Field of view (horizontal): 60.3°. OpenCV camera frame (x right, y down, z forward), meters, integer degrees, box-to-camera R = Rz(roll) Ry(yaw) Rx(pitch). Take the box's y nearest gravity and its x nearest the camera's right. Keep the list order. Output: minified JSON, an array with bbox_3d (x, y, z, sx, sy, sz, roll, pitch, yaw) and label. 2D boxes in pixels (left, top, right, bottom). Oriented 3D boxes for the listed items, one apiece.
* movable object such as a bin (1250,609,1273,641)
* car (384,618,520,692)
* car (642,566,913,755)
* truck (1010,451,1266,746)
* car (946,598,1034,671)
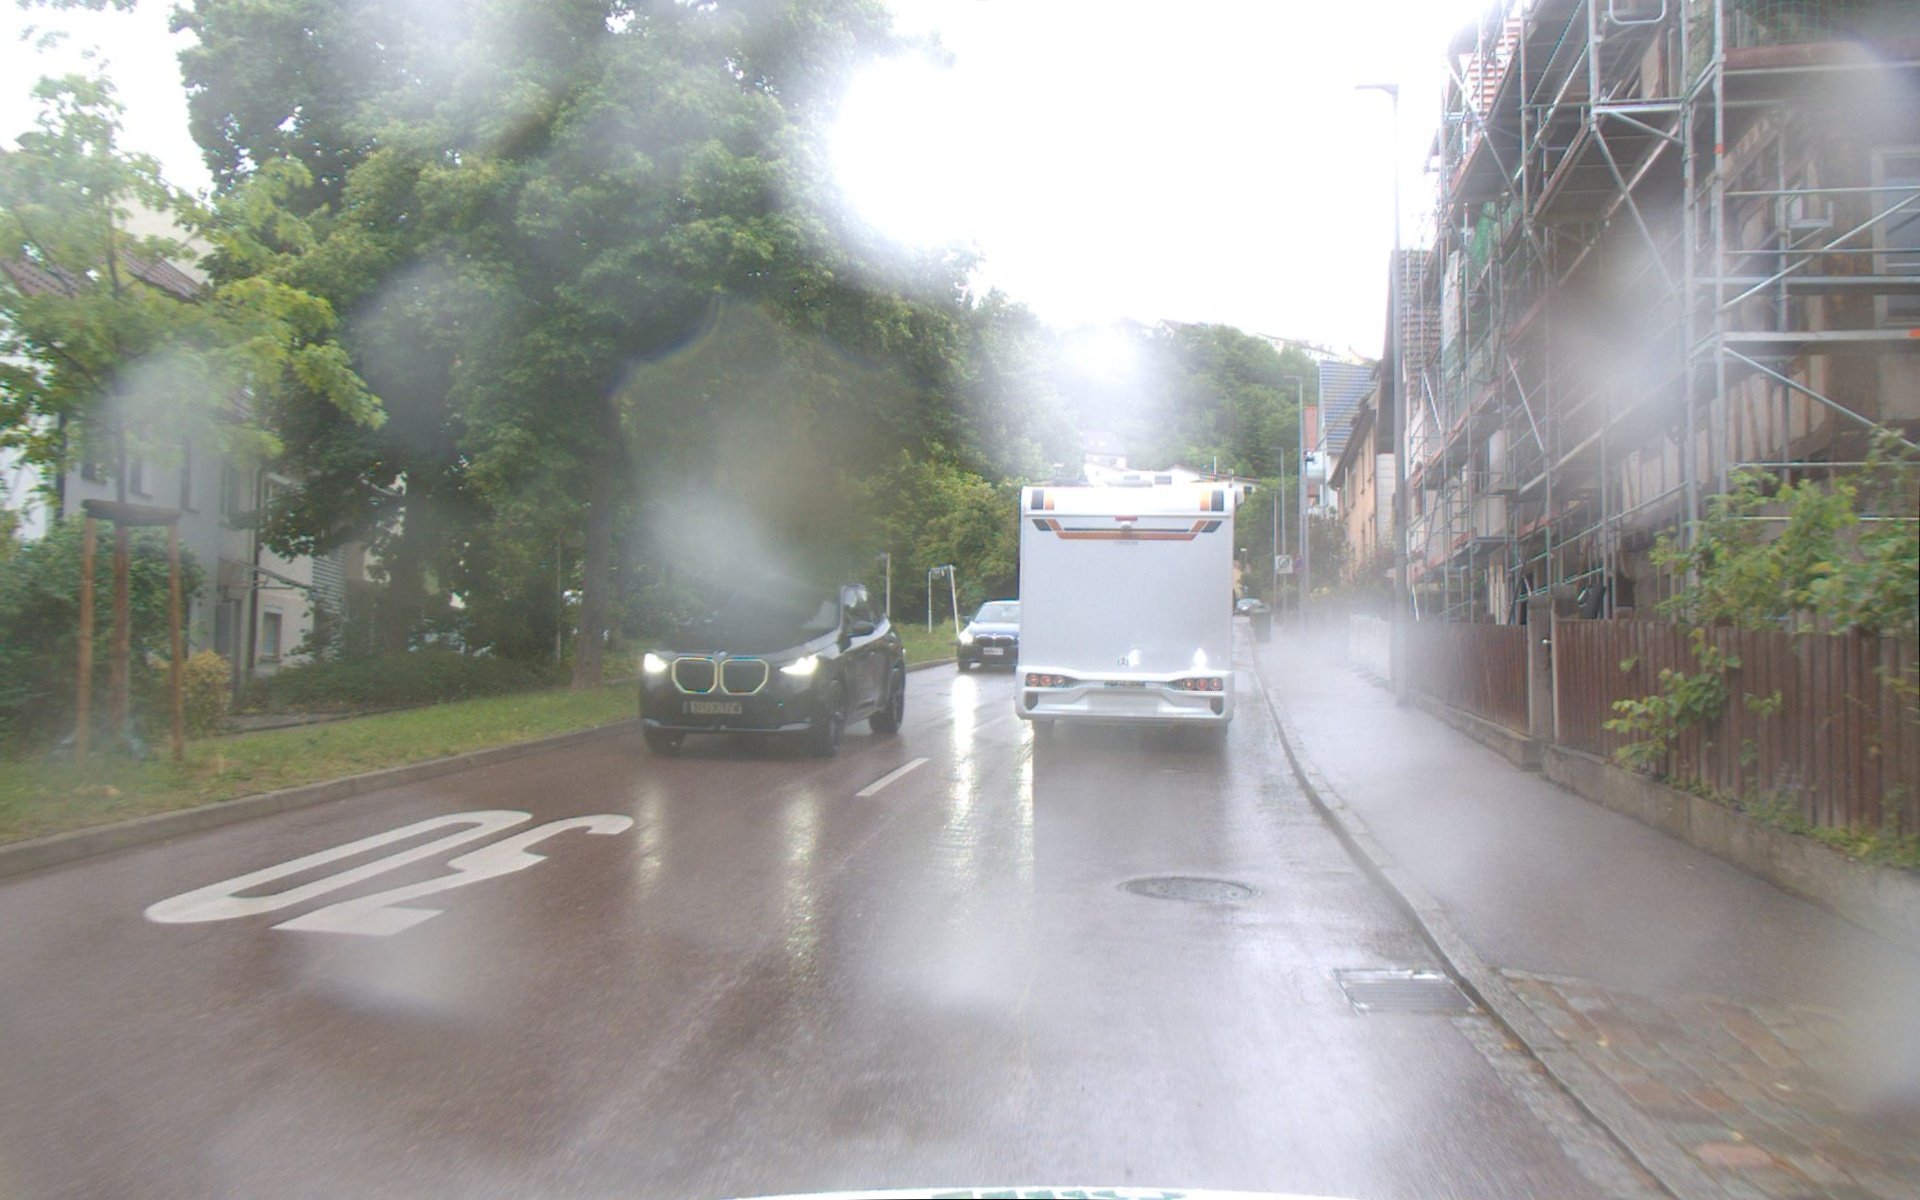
[{"bbox_3d":[10.340,0.847,56.686,0.704,1.070,0.800,1,0,13],"label":"movable object such as a bin"},{"bbox_3d":[-10.348,1.094,33.938,1.955,1.352,3.444,1,0,-5],"label":"car"},{"bbox_3d":[-1.685,0.532,16.734,1.848,1.644,4.142,1,0,6],"label":"car"},{"bbox_3d":[2.183,-0.028,19.366,2.462,2.867,6.206,1,0,8],"label":"truck"},{"bbox_3d":[0.698,0.699,35.776,1.728,1.466,4.065,1,0,3],"label":"car"}]
